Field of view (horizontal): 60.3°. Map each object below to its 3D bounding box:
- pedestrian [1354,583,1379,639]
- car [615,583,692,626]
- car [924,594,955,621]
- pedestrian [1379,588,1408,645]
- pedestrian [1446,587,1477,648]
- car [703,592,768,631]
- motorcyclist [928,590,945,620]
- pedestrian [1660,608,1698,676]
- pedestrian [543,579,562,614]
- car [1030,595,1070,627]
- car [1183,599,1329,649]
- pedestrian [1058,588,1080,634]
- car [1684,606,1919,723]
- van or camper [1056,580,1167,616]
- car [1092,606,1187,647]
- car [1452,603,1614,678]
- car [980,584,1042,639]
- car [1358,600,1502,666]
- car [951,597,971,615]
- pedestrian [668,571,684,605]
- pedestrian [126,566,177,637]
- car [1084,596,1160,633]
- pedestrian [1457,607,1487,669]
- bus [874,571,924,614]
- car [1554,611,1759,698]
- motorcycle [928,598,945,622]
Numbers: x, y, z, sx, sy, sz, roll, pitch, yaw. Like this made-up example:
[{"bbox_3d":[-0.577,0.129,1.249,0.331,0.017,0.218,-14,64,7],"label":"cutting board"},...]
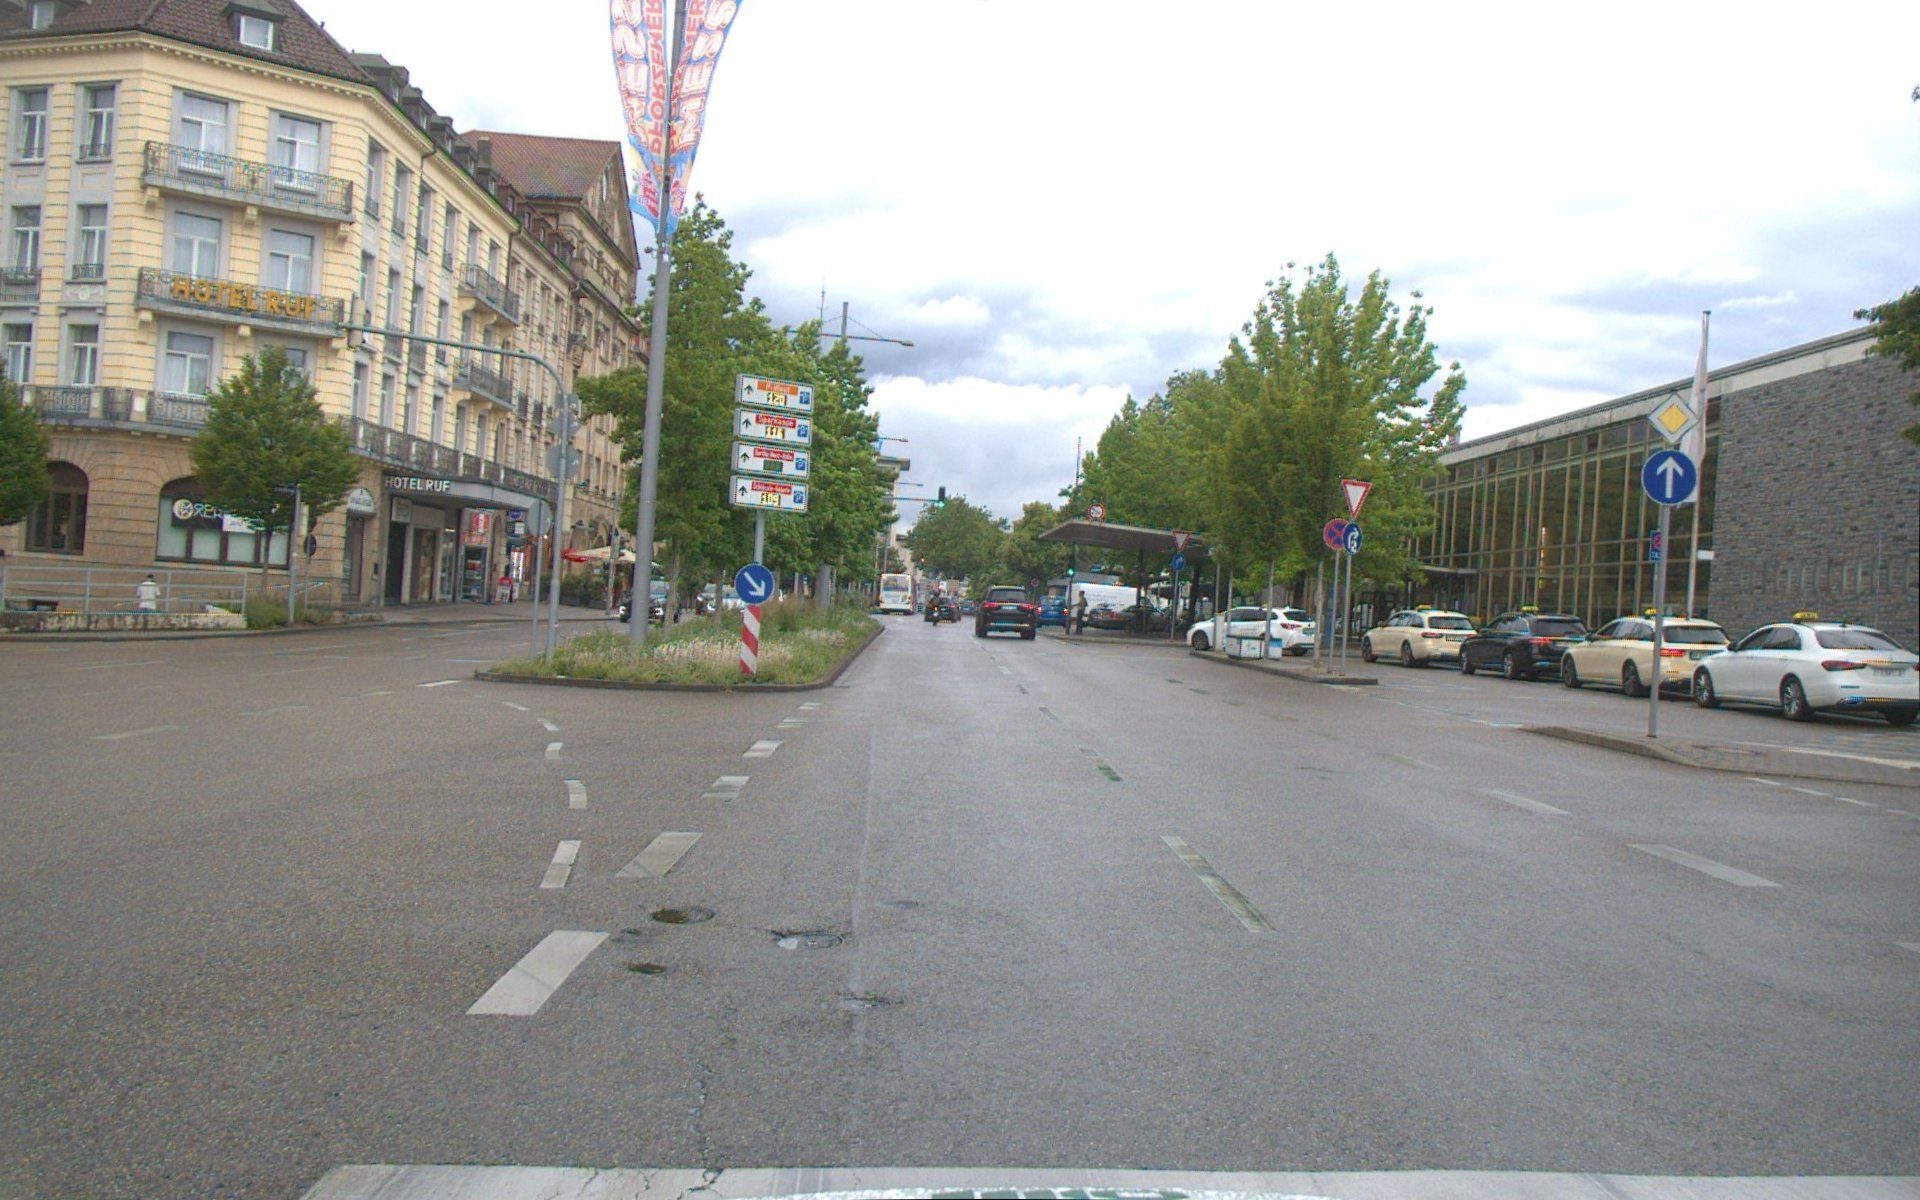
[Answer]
[{"bbox_3d":[18.164,0.489,73.925,0.825,2.453,0.862,1,0,1],"label":"pedestrian"},{"bbox_3d":[-11.617,0.159,62.939,1.733,1.557,4.081,1,0,7],"label":"car"},{"bbox_3d":[-1.180,0.412,92.873,1.673,1.473,3.999,1,0,-1],"label":"car"},{"bbox_3d":[15.942,0.599,60.830,0.754,2.049,0.828,1,0,-3],"label":"pedestrian"},{"bbox_3d":[17.347,0.602,57.235,0.754,2.049,0.828,1,0,-3],"label":"pedestrian"},{"bbox_3d":[-8.705,0.426,64.529,1.688,1.406,4.861,1,0,2],"label":"car"},{"bbox_3d":[-1.079,0.211,76.406,0.749,1.355,0.866,2,0,-1],"label":"motorcyclist"},{"bbox_3d":[18.097,1.053,41.642,0.553,1.675,0.715,1,0,-6],"label":"pedestrian"},{"bbox_3d":[-18.341,-0.157,74.489,0.656,1.537,0.512,1,0,-39],"label":"pedestrian"},{"bbox_3d":[4.625,0.540,85.469,1.779,1.557,3.999,1,0,-1],"label":"car"},{"bbox_3d":[9.109,0.738,51.212,1.764,1.409,4.303,1,0,-41],"label":"car"},{"bbox_3d":[4.393,0.442,66.631,0.705,1.822,0.663,2,0,-12],"label":"pedestrian"},{"bbox_3d":[13.373,0.944,26.071,1.739,1.617,4.614,1,0,-2],"label":"car"},{"bbox_3d":[9.461,-0.088,103.010,6.675,2.049,2.364,1,-1,-27],"label":"van or camper"},{"bbox_3d":[8.947,1.301,82.404,4.273,1.890,1.988,2,0,-21],"label":"car"},{"bbox_3d":[13.053,0.882,38.009,1.875,1.551,4.740,1,0,-3],"label":"car"},{"bbox_3d":[1.759,0.368,58.932,1.953,1.837,4.689,1,0,-1],"label":"car"},{"bbox_3d":[12.553,0.848,44.486,1.956,1.628,4.814,1,0,-8],"label":"car"},{"bbox_3d":[0.094,0.528,143.999,1.673,1.500,3.999,1,0,-1],"label":"car"},{"bbox_3d":[-14.475,-0.597,84.369,0.661,1.731,0.633,2,0,-1],"label":"pedestrian"},{"bbox_3d":[-22.087,0.040,45.223,0.845,1.911,1.022,2,0,-1],"label":"pedestrian"},{"bbox_3d":[9.472,0.844,96.789,3.929,2.049,1.988,2,0,-21],"label":"car"},{"bbox_3d":[14.799,1.097,47.821,0.553,1.739,0.715,2,0,-6],"label":"pedestrian"},{"bbox_3d":[-5.230,-0.621,139.089,3.686,3.265,15.513,1,0,-4],"label":"bus"},{"bbox_3d":[13.243,0.987,31.788,1.809,1.477,4.664,1,0,-2],"label":"car"},{"bbox_3d":[-1.080,0.454,76.330,0.750,1.095,2.175,2,0,-1],"label":"motorcycle"}]
